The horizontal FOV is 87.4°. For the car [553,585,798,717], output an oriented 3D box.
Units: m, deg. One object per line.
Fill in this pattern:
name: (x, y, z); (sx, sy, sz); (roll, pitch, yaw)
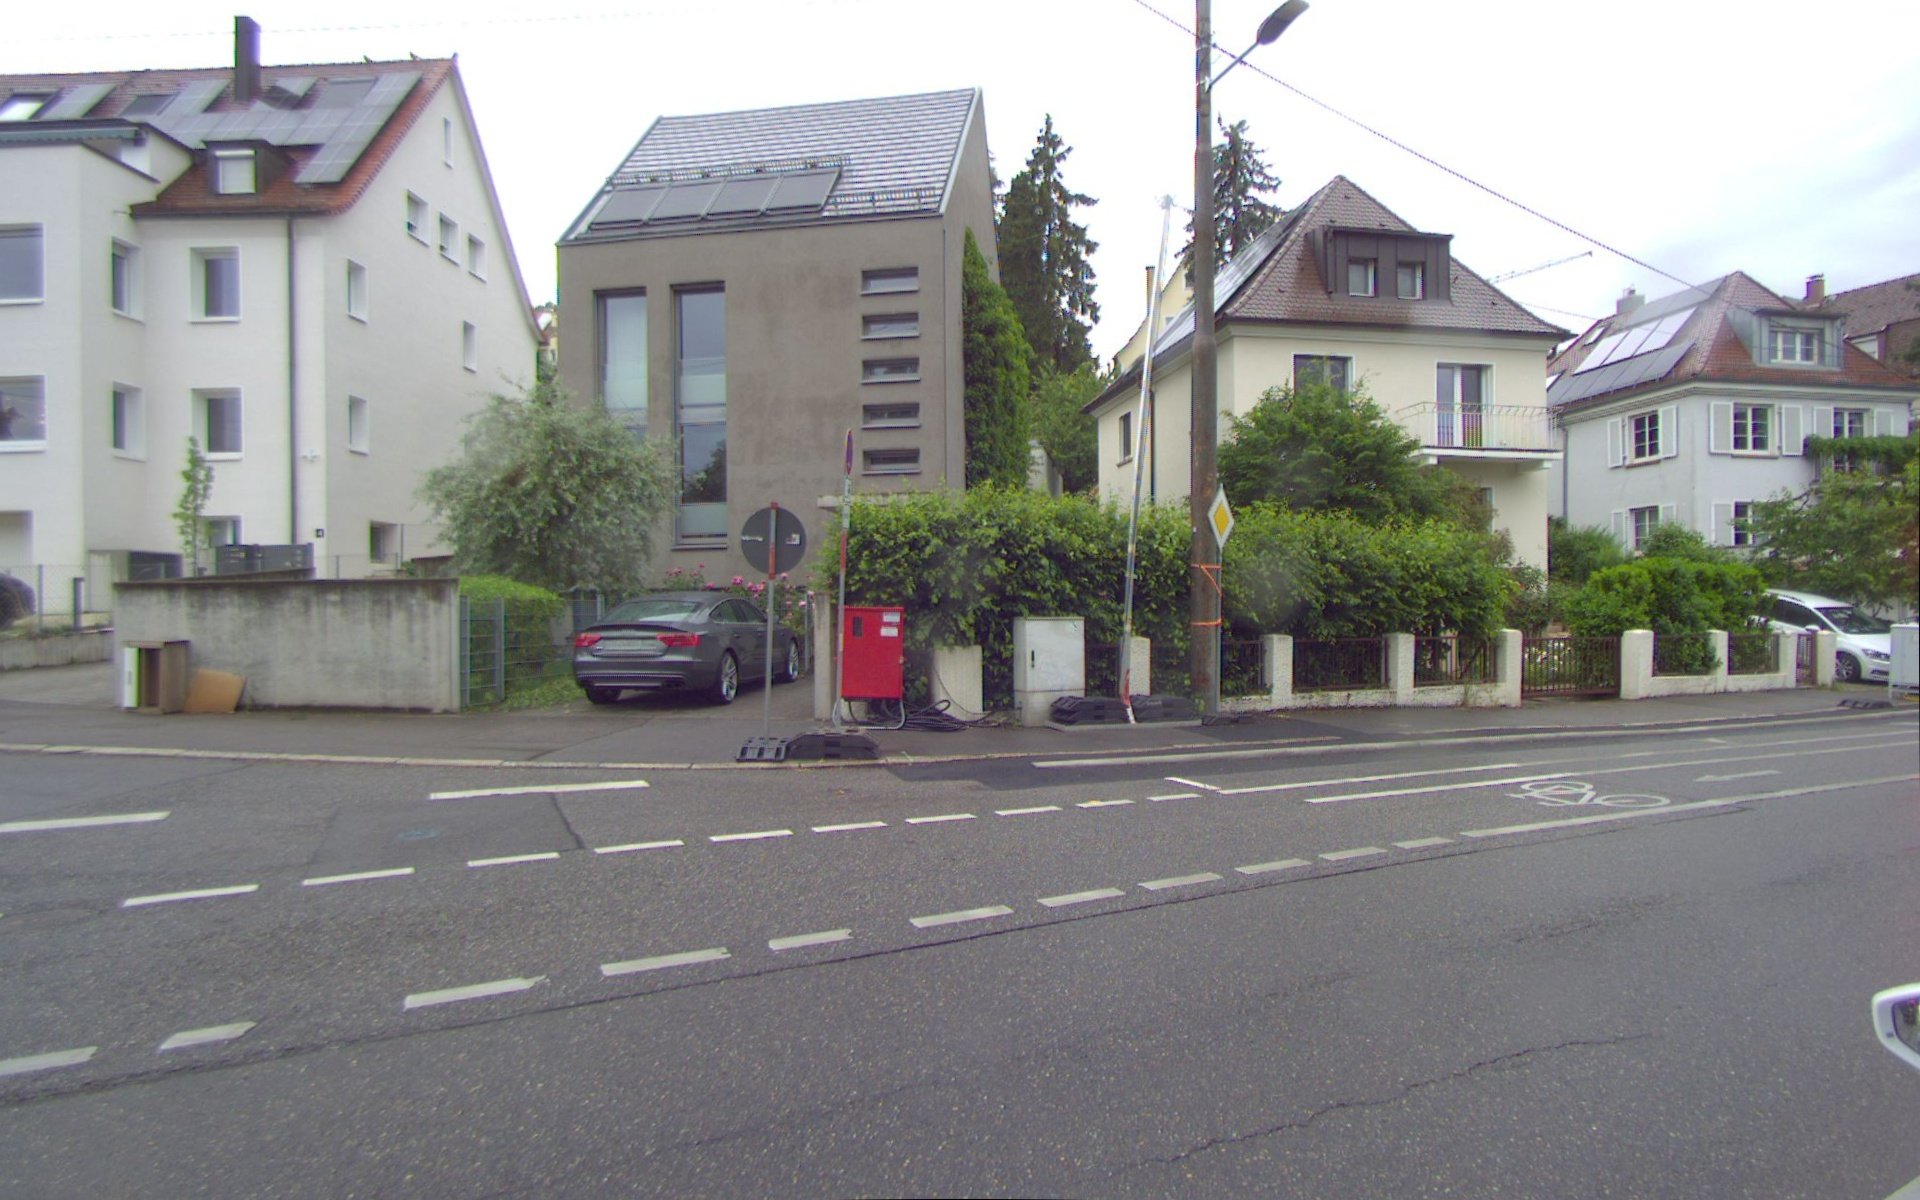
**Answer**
car: (-3.620, 0.558, 13.577); (1.740, 1.506, 4.002); (0, 1, 7)

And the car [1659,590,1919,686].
car: (19.584, 0.811, 23.914); (1.870, 2.033, 4.628); (1, 0, -18)

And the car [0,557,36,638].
car: (-16.743, 0.044, 15.169); (1.576, 1.298, 4.008); (2, 4, 6)
